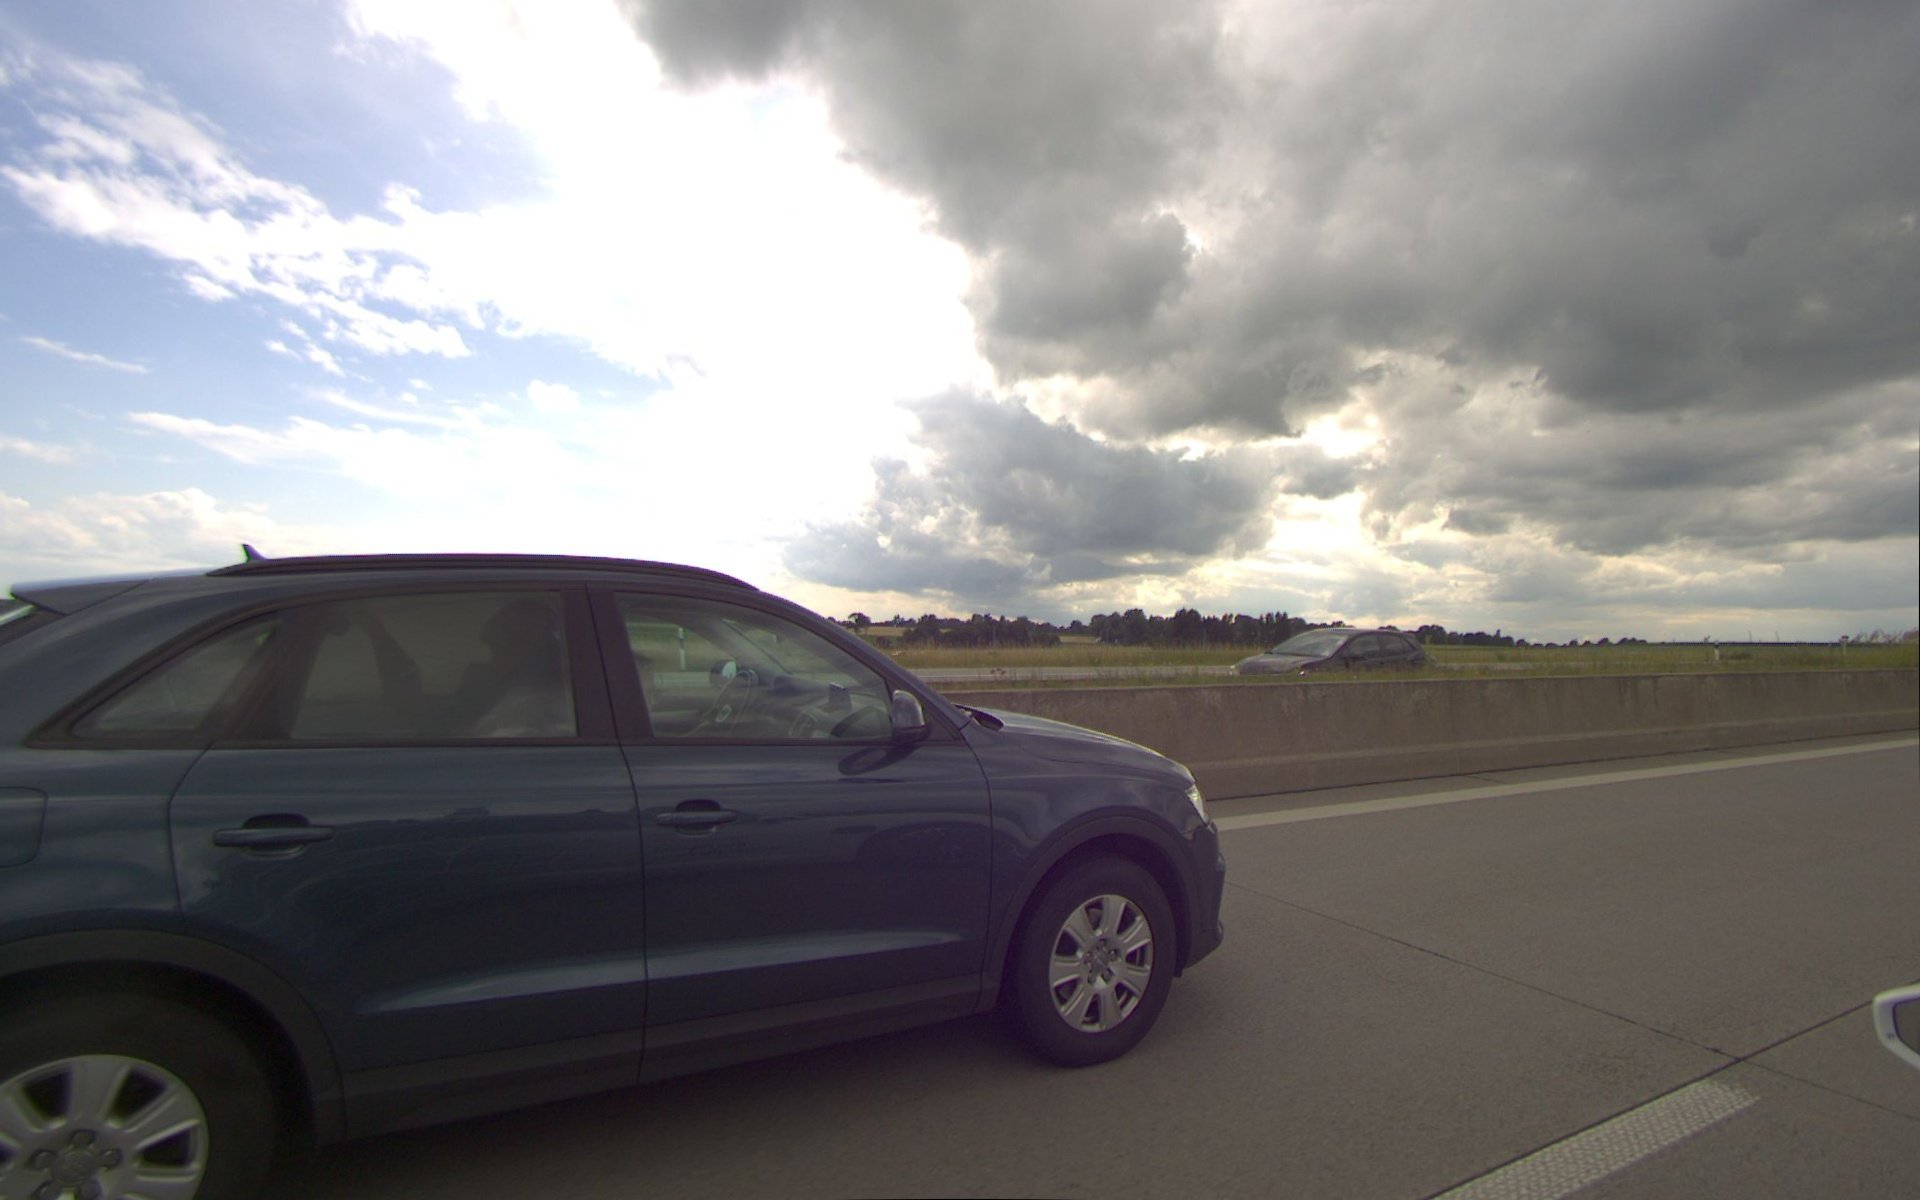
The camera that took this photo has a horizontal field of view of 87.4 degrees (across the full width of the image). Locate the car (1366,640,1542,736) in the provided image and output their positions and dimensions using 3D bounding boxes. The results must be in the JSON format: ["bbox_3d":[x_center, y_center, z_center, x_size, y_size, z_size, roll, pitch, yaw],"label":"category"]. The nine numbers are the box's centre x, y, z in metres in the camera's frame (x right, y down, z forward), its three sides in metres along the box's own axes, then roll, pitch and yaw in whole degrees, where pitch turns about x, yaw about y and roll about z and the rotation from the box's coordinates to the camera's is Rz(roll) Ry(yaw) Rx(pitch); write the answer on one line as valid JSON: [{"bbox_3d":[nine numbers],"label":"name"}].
[{"bbox_3d":[9.683,1.711,19.665,3.221,1.669,1.543,4,-1,-30],"label":"car"}]

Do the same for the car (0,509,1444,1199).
[{"bbox_3d":[-0.629,0.680,3.581,5.099,1.617,1.783,2,0,-32],"label":"car"}]

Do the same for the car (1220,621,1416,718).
[{"bbox_3d":[6.277,1.174,17.599,3.063,1.491,1.609,2,1,-30],"label":"car"}]
